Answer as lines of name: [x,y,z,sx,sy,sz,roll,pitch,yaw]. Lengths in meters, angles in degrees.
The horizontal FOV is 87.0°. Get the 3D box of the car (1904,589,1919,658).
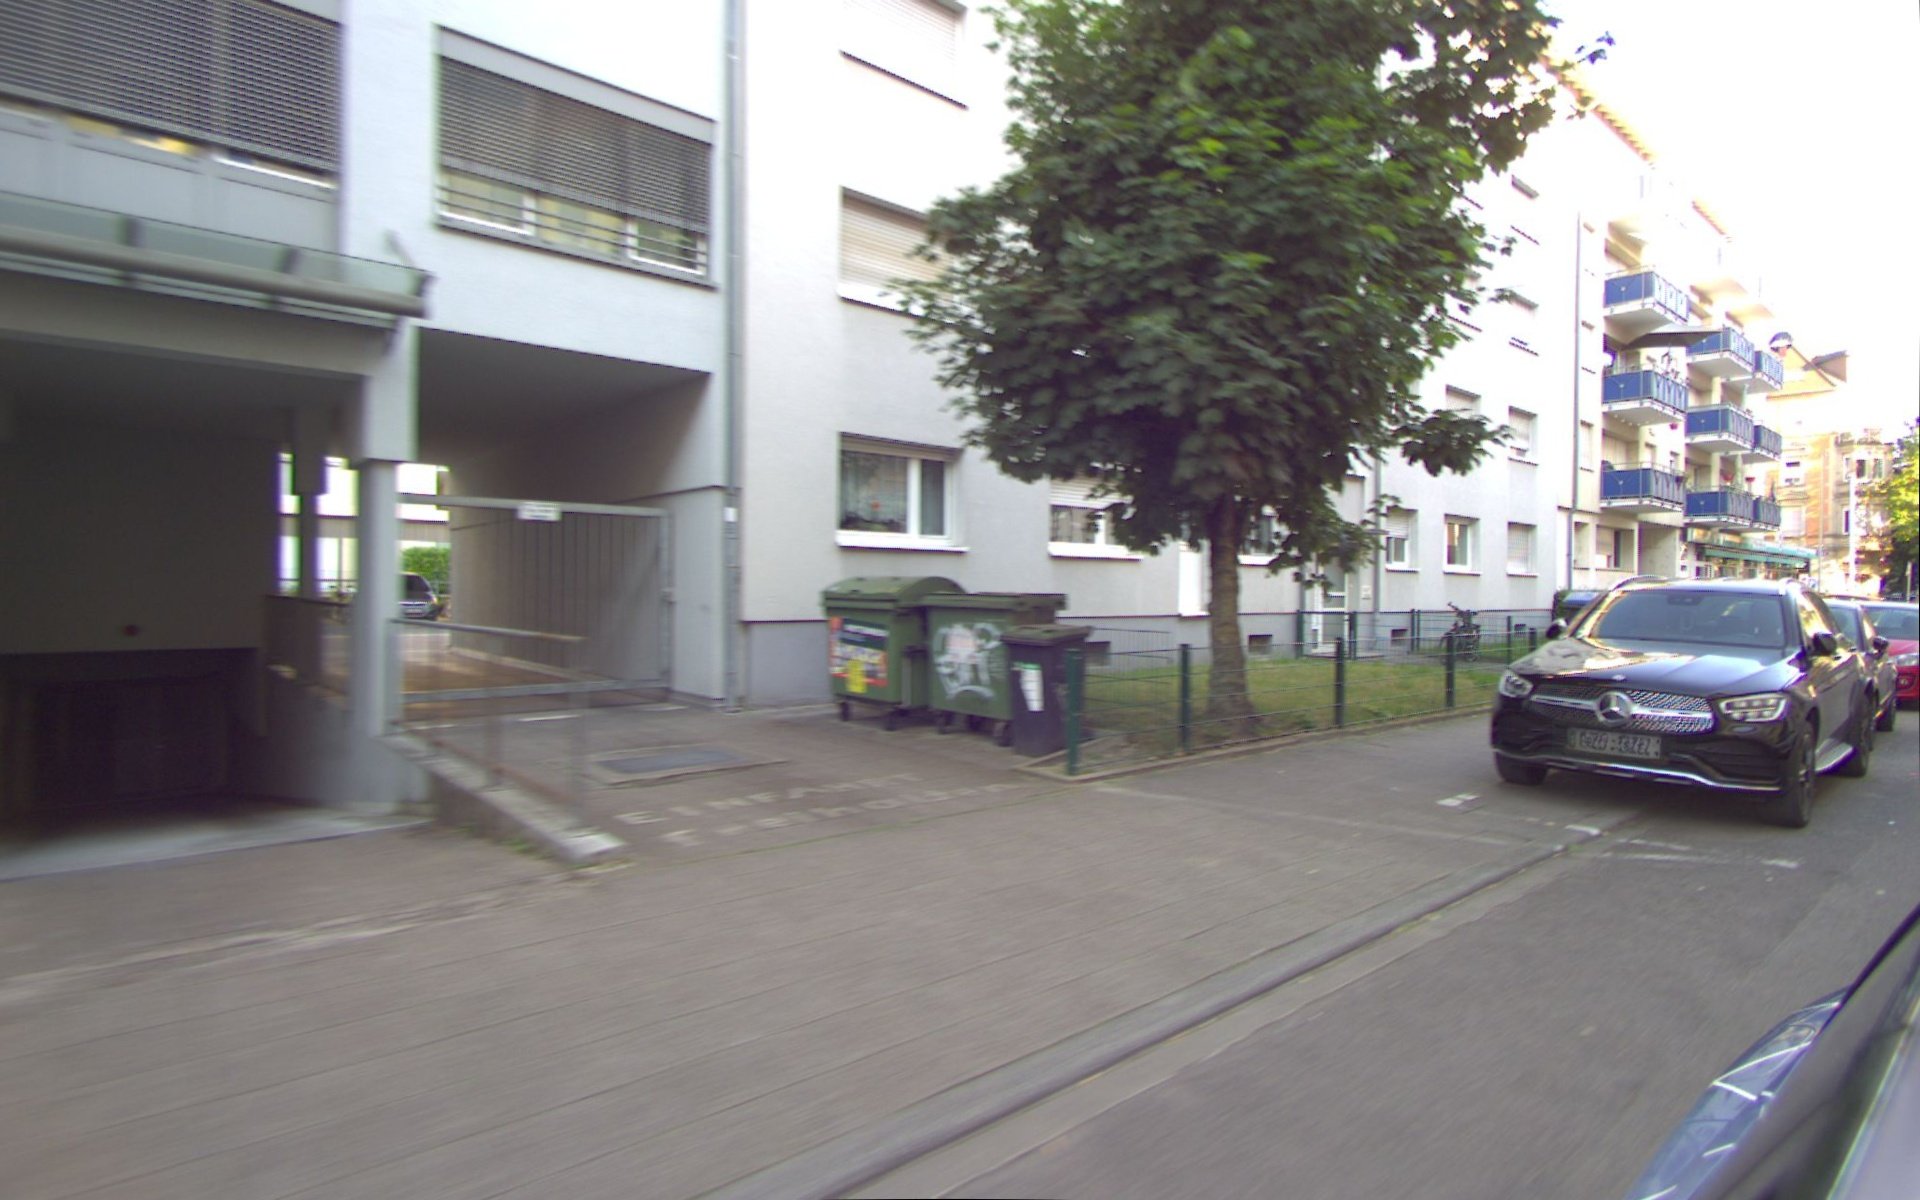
car: [22.047,0.503,22.106,4.064,1.437,1.679,-1,3,-42]

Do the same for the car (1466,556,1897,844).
car: [5.975,0.530,8.127,4.642,1.655,1.874,-1,3,-43]

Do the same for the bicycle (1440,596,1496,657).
bicycle: [9.893,0.487,19.675,0.599,1.104,1.716,2,2,38]

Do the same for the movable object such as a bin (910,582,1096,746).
movable object such as a bin: [0.380,0.520,9.233,1.119,1.337,1.264,0,2,-41]

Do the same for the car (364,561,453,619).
car: [-18.108,-0.371,33.162,1.963,1.704,3.999,0,3,-37]

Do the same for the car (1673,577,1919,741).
car: [9.520,0.529,11.320,3.588,1.501,1.680,0,3,-41]

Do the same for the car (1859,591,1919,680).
car: [17.514,0.599,18.049,4.064,1.437,1.680,-1,3,-41]

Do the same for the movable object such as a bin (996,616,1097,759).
movable object such as a bin: [0.708,0.687,8.273,0.614,1.084,0.529,0,2,-41]

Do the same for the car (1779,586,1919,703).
car: [13.722,0.571,15.016,3.586,1.501,1.681,0,2,-39]

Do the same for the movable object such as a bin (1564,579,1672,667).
movable object such as a bin: [11.614,0.376,17.866,1.202,1.454,1.287,0,2,-41]

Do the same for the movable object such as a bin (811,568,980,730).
movable object such as a bin: [-0.648,0.425,10.021,1.119,1.454,1.264,0,2,-41]

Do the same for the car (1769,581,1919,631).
car: [32.124,0.159,36.758,1.966,1.584,3.993,0,3,-42]
